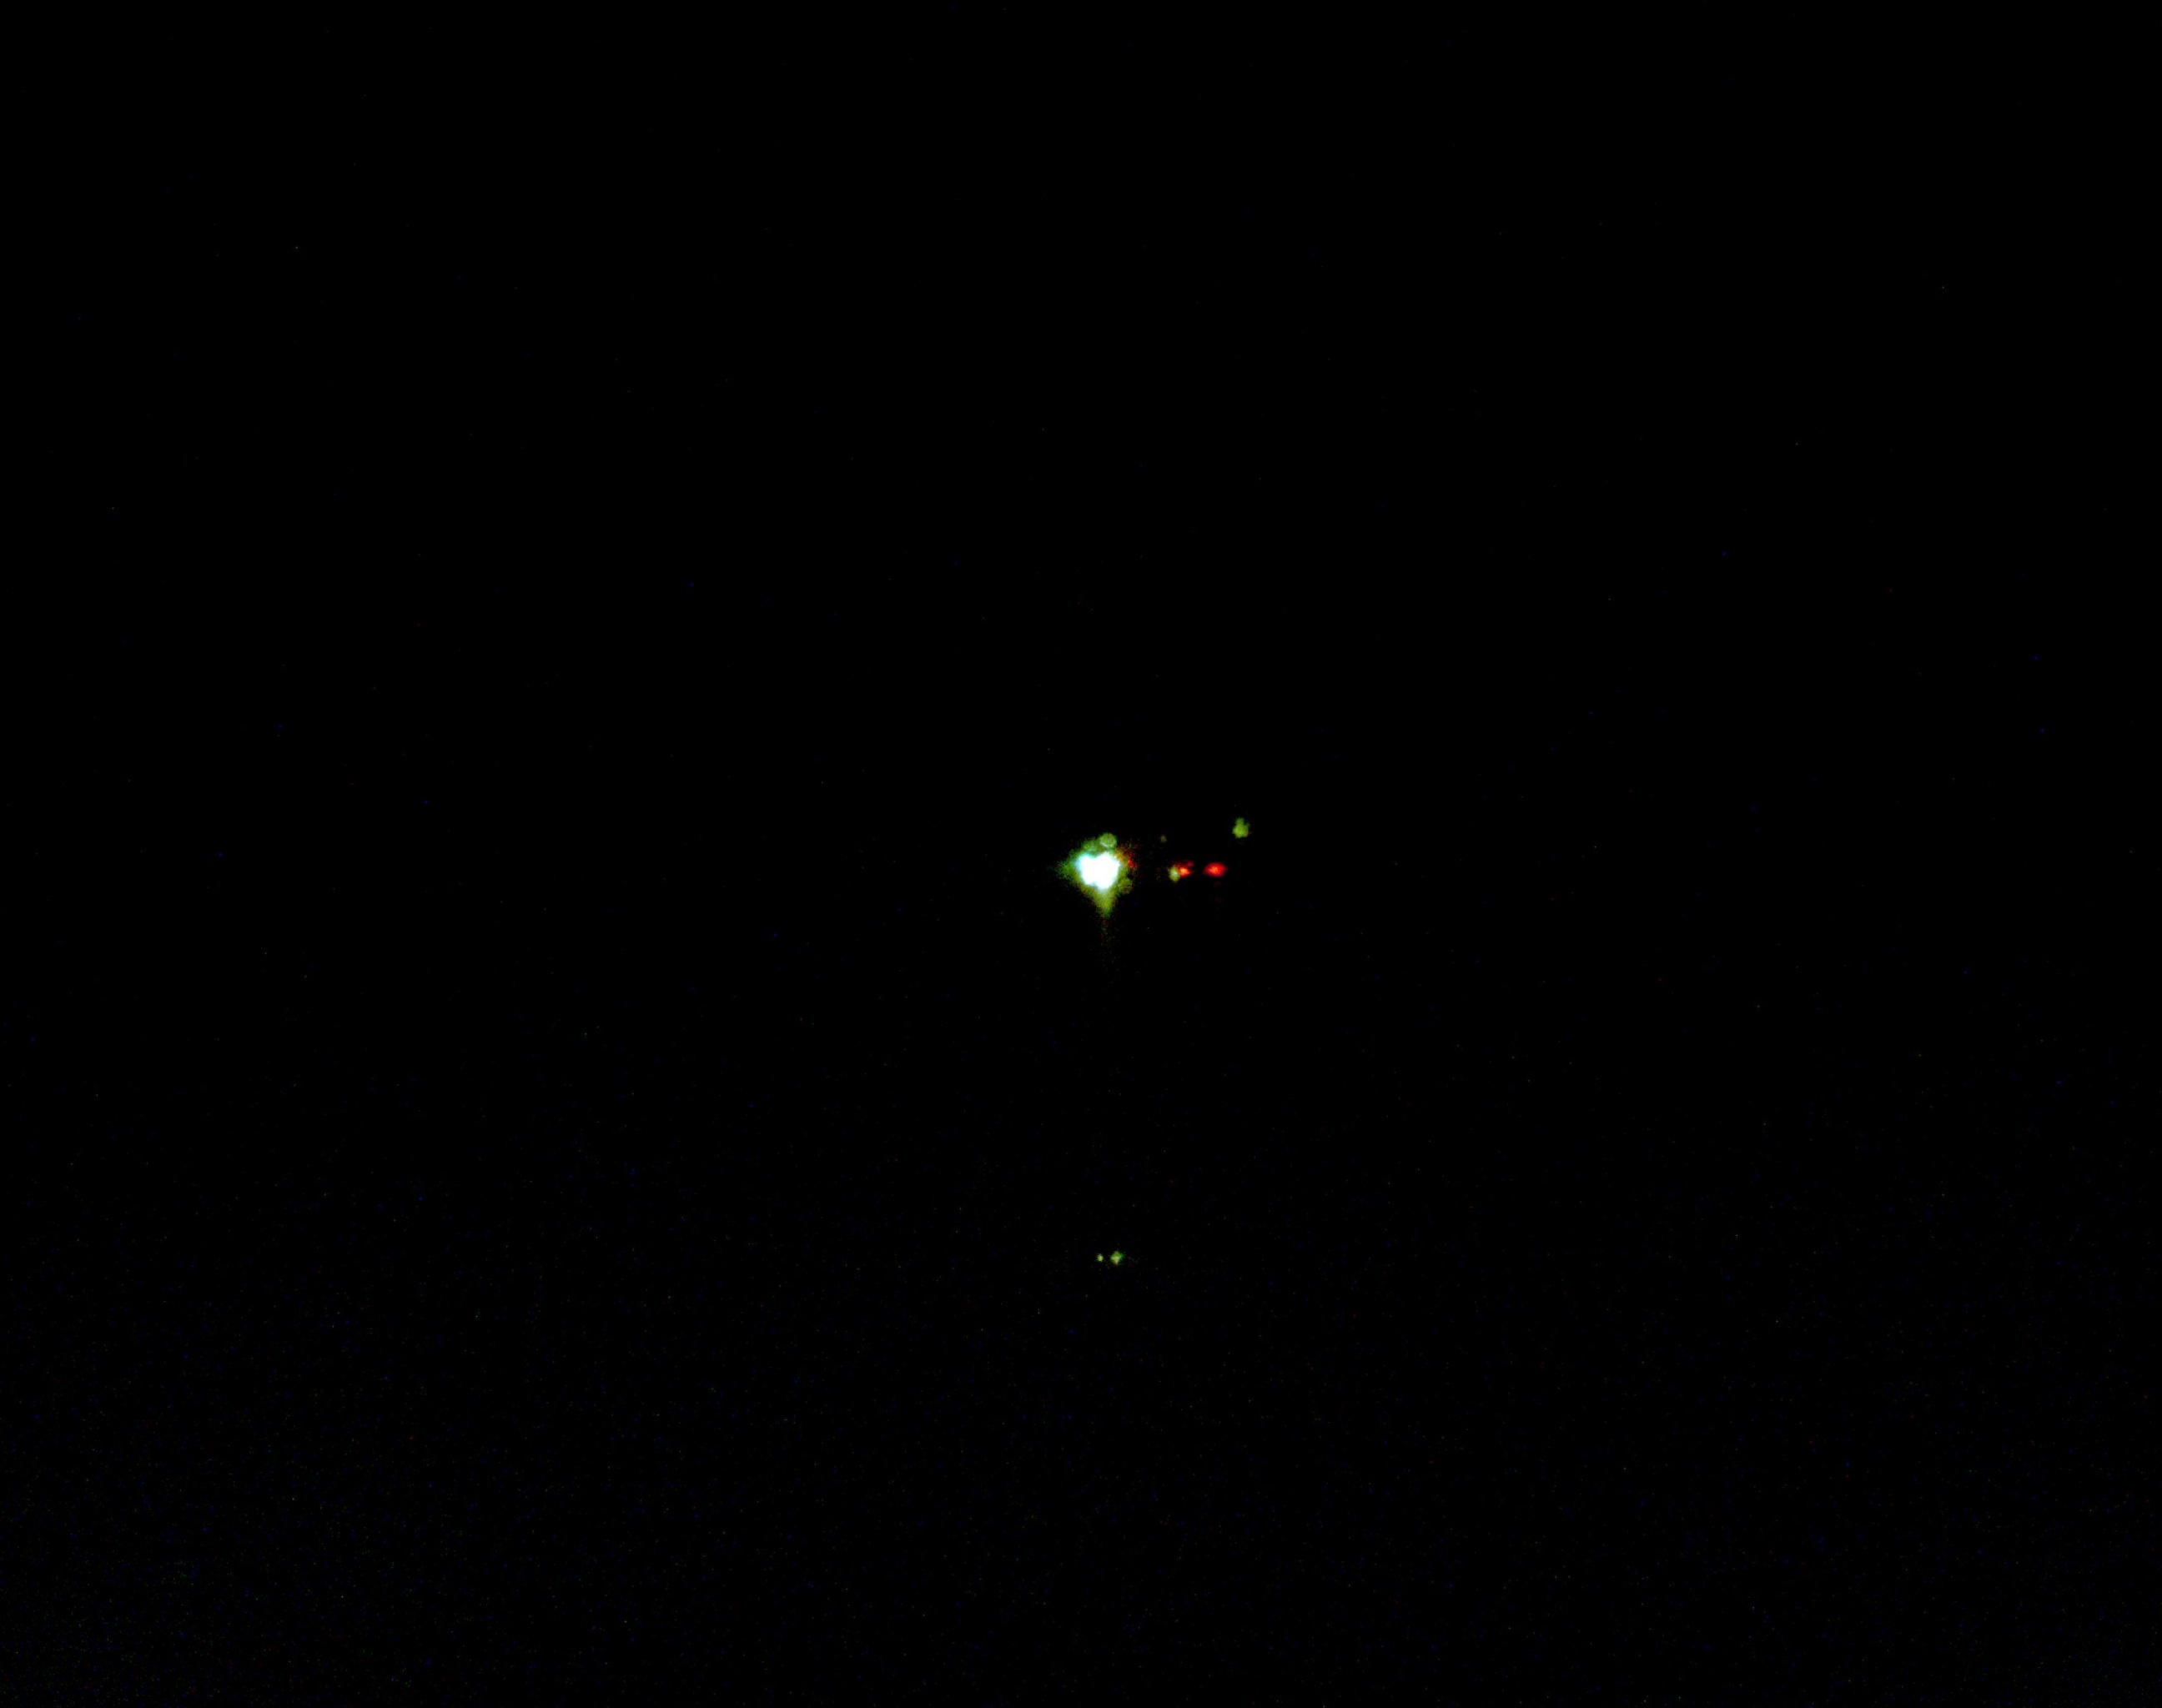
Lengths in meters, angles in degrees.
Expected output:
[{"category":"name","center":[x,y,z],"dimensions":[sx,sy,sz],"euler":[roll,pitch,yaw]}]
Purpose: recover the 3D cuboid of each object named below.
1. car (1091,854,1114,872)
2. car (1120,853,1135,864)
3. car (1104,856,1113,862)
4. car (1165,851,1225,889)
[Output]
[{"category":"car","center":[1.965,0.809,71.477],"dimensions":[1.998,1.575,4.000],"euler":[-3,0,1]},{"category":"car","center":[7.025,0.690,115.374],"dimensions":[1.812,1.612,4.003],"euler":[-2,0,10]},{"category":"car","center":[6.939,1.255,191.437],"dimensions":[1.998,1.489,3.775],"euler":[-2,0,5]},{"category":"car","center":[5.134,0.669,34.878],"dimensions":[1.998,1.567,4.661],"euler":[-2,0,0]}]
